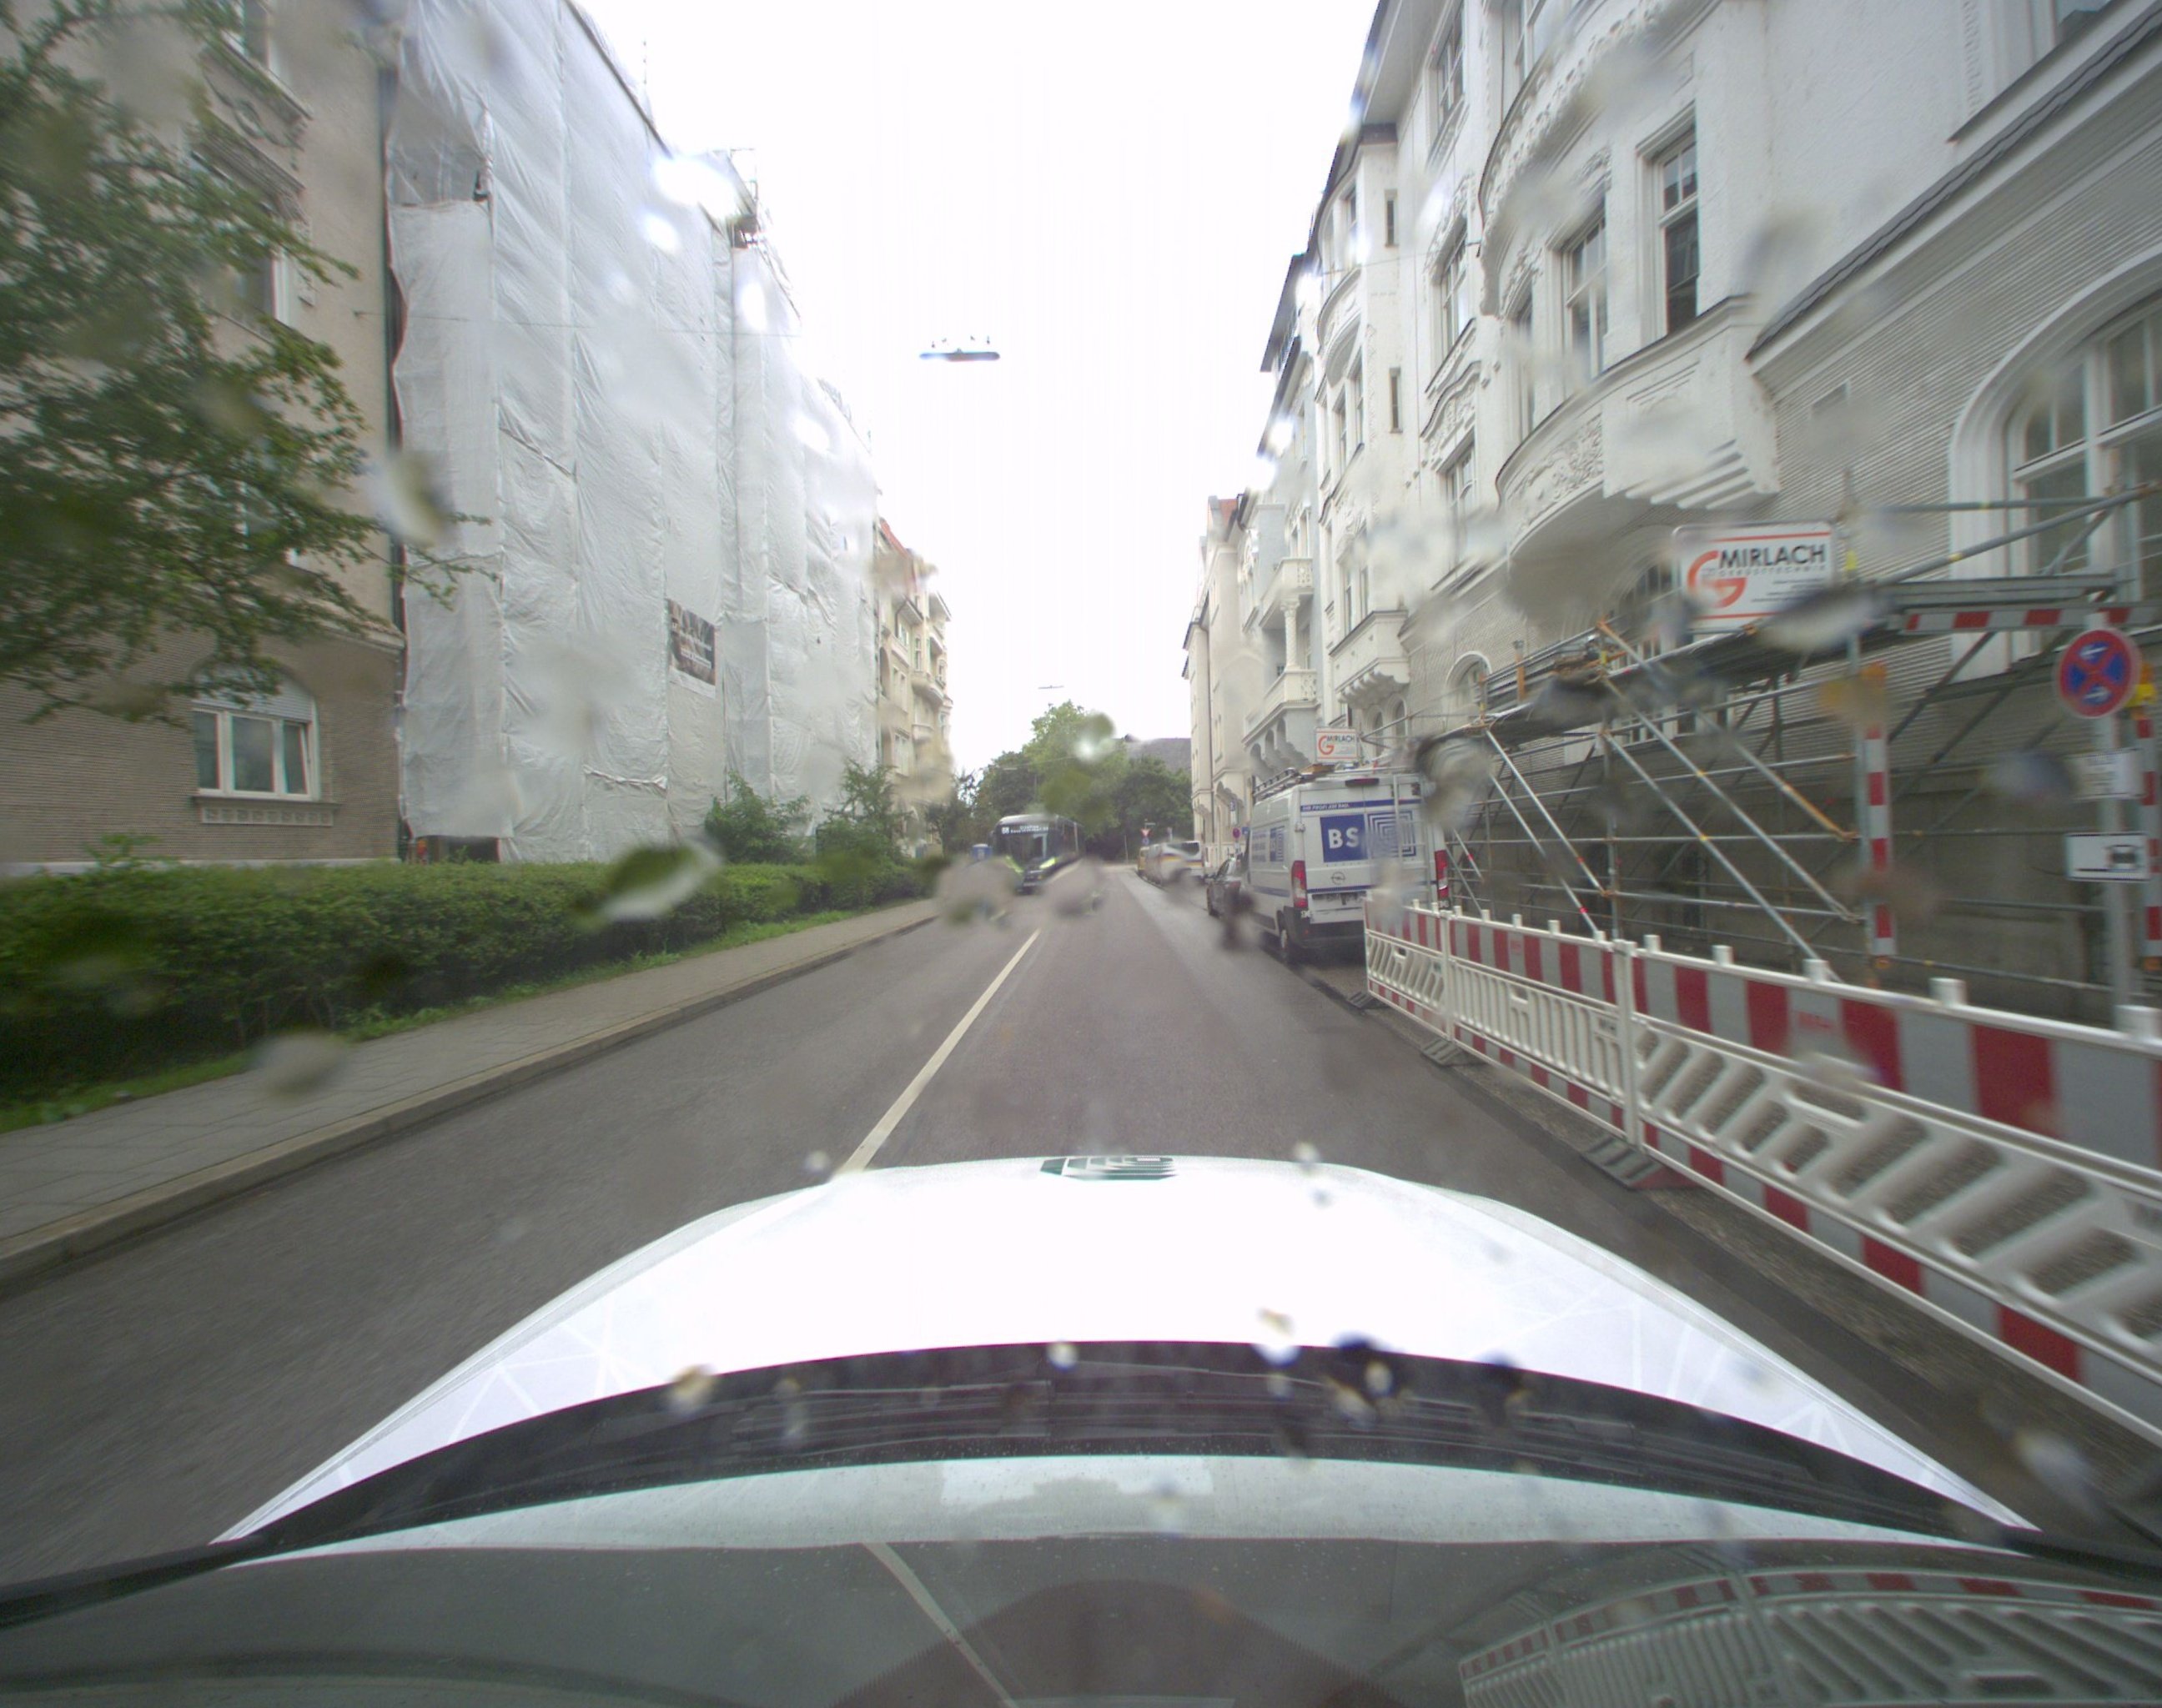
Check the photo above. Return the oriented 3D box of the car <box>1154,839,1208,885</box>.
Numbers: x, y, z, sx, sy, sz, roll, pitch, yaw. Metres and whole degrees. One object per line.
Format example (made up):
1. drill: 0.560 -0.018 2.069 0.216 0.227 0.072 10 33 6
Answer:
1. car: 4.547 0.357 37.753 1.986 1.918 4.880 -2 0 2

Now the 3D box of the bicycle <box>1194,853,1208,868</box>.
1. bicycle: 10.170 0.553 69.105 0.835 1.112 2.759 -5 0 3

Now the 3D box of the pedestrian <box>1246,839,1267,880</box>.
1. pedestrian: 8.224 0.247 38.159 0.848 1.903 0.747 -2 0 5

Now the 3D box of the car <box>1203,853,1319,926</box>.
1. car: 3.944 0.715 18.506 1.781 1.407 4.246 -2 0 2

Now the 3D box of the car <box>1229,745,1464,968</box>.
1. car: 3.814 0.036 12.926 2.068 2.688 5.449 -3 0 3

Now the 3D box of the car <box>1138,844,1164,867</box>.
1. car: 6.242 0.130 73.256 1.931 1.922 5.376 -3 0 1

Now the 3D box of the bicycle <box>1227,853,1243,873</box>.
1. bicycle: 8.921 0.508 47.238 0.663 1.133 1.723 -2 0 3

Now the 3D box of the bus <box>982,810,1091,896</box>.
1. bus: -1.677 -0.046 41.283 3.157 3.212 18.076 -3 0 4

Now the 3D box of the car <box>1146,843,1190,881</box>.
1. car: 4.620 0.408 43.902 1.986 1.918 4.888 -2 0 2

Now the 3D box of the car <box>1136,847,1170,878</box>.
1. car: 4.804 0.552 54.777 1.986 1.918 4.573 -2 0 2
